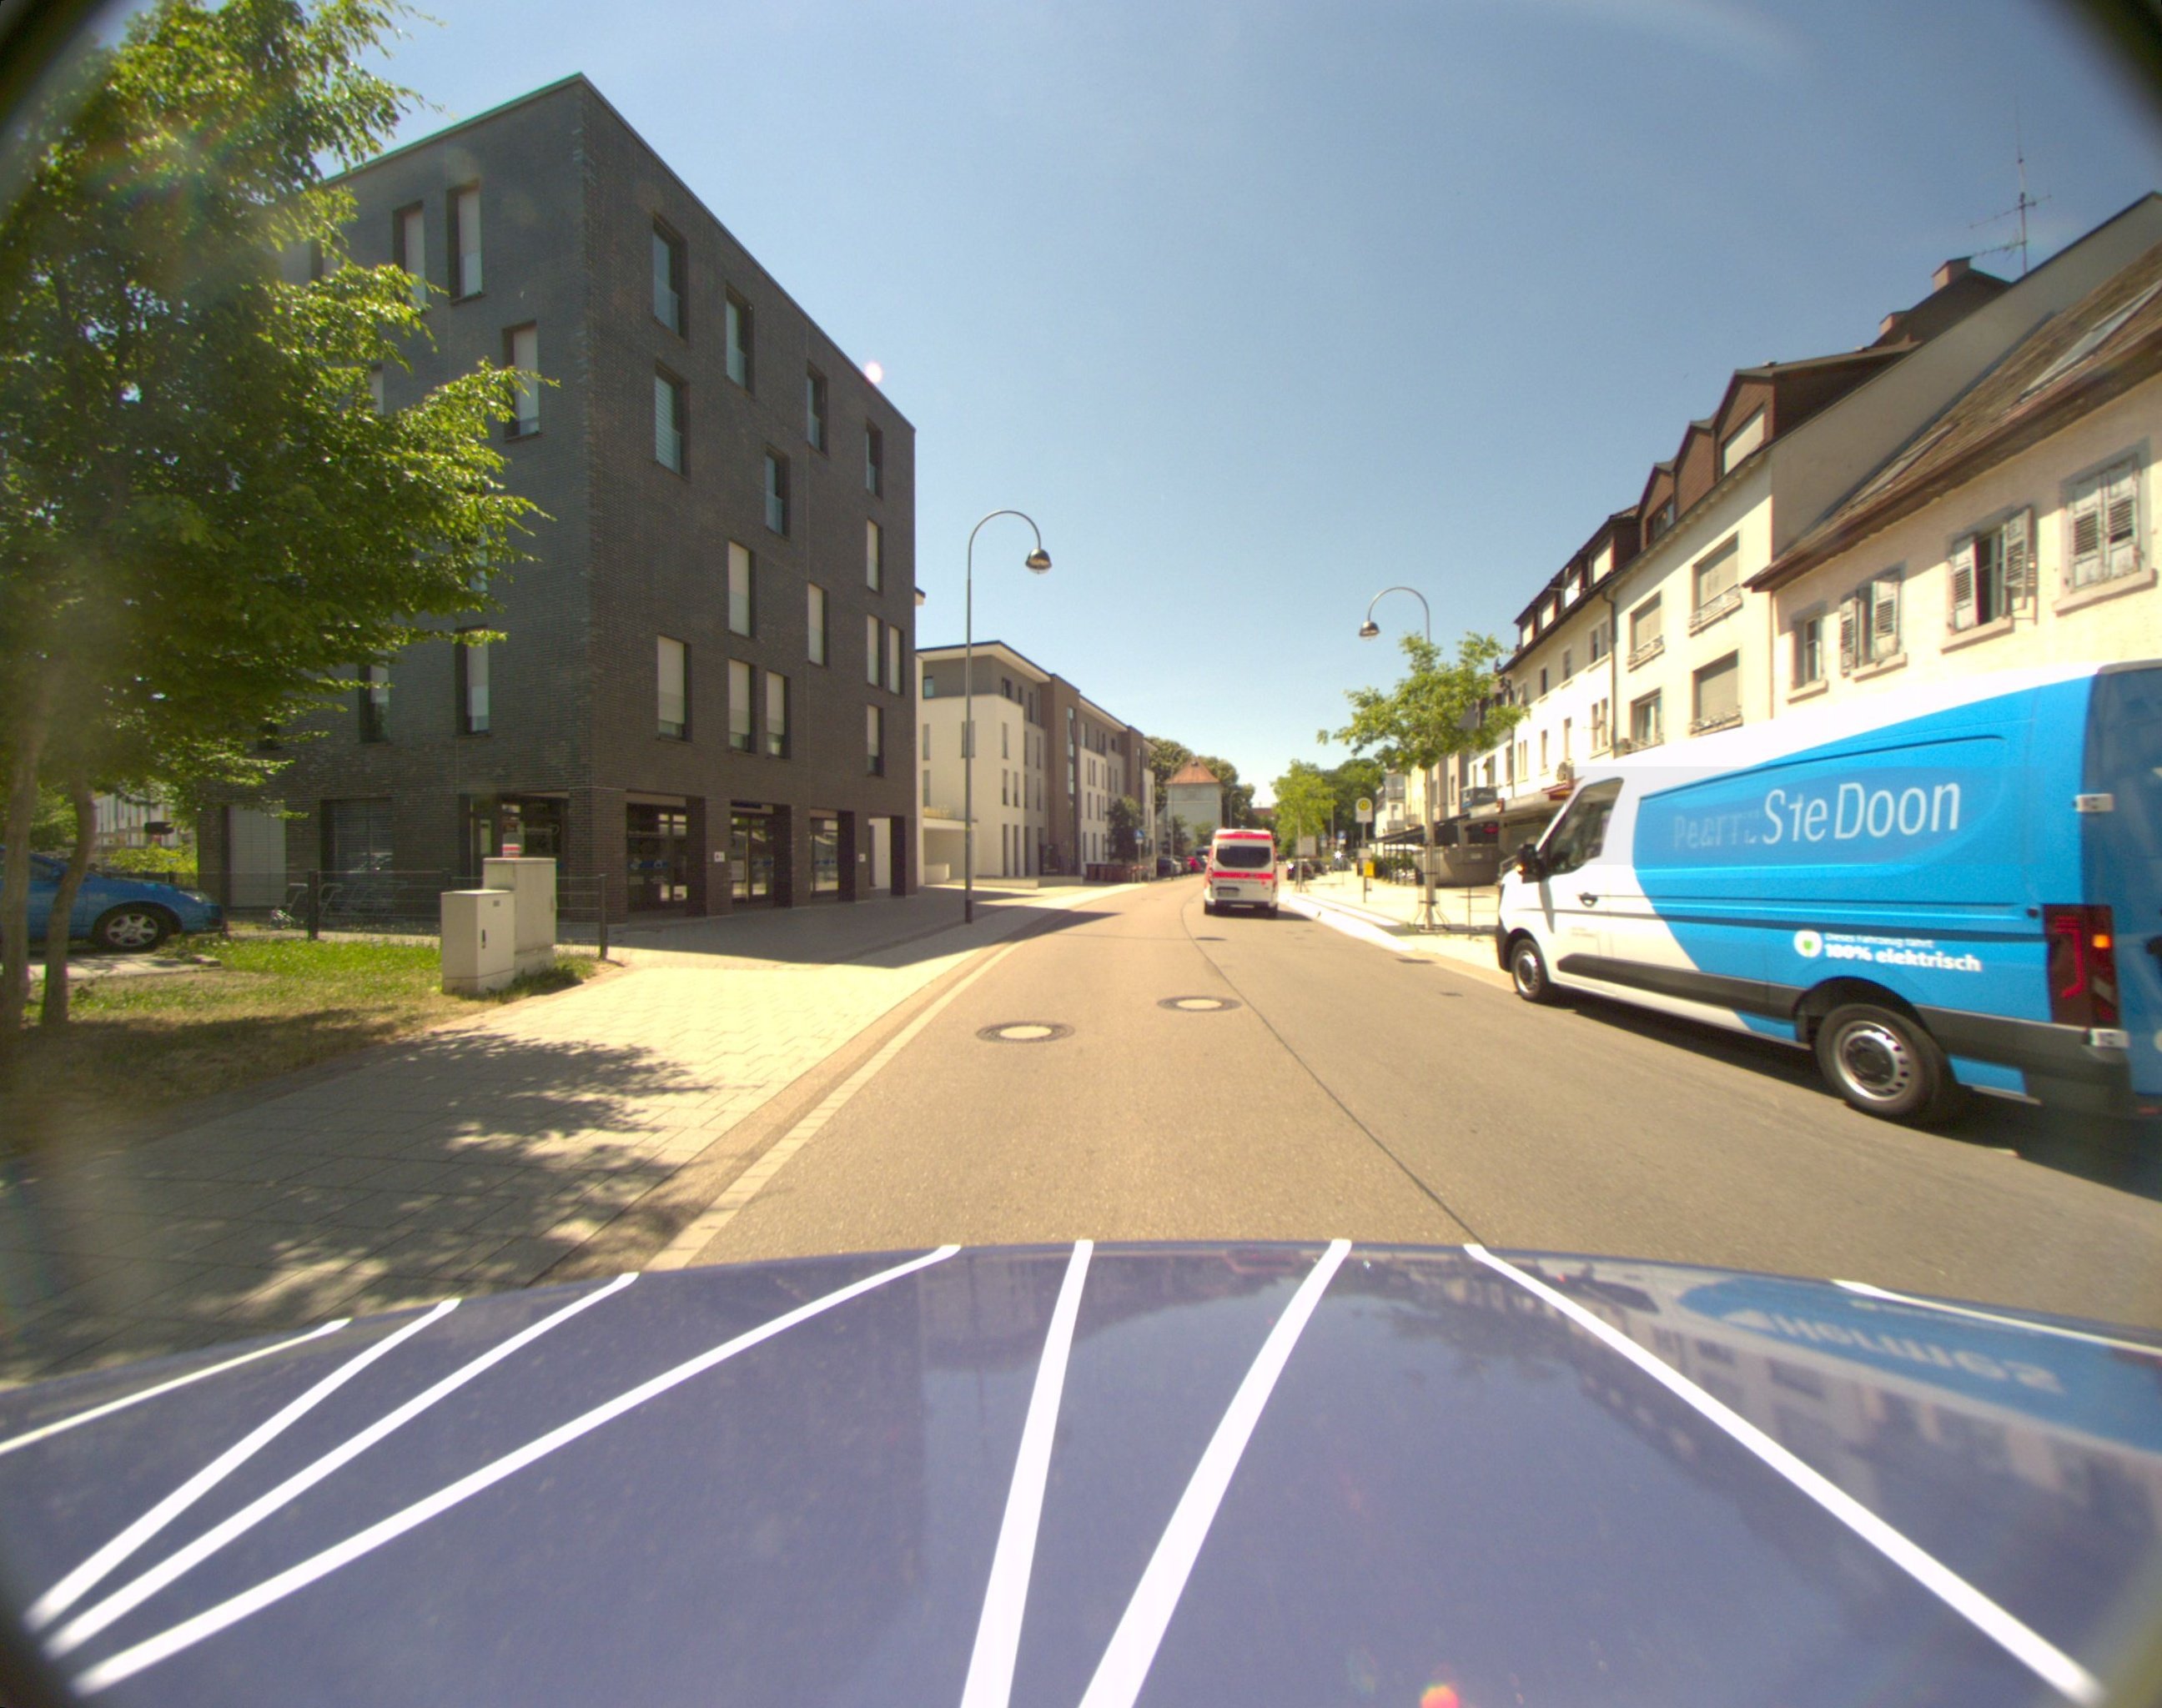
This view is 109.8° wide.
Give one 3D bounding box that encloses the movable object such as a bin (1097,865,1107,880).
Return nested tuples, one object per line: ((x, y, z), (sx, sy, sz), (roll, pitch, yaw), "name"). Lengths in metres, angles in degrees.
((1.344, 1.137, 47.543), (0.474, 0.925, 0.529), (2, 1, 18), "movable object such as a bin")

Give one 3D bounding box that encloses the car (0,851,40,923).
((-23.379, 0.646, 14.359), (1.812, 1.432, 4.182), (1, 0, 30), "car")

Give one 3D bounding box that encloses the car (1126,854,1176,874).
((5.540, 0.767, 59.905), (3.660, 1.437, 1.537), (2, 1, 19), "car")

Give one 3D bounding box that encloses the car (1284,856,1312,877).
((17.509, 0.971, 61.136), (1.683, 1.475, 3.774), (-4, -1, 23), "car")

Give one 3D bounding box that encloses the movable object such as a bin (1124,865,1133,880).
((2.989, 1.147, 47.658), (0.467, 0.925, 0.529), (2, 1, 18), "movable object such as a bin")

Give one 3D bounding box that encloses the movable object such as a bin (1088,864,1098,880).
((0.737, 1.132, 47.766), (0.474, 0.925, 0.529), (2, 1, 18), "movable object such as a bin")

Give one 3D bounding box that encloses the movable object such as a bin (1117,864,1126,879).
((2.607, 1.118, 49.372), (0.517, 0.918, 0.437), (1, 1, -5), "movable object such as a bin")

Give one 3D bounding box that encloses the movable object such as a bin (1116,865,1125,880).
((2.495, 1.137, 47.817), (0.465, 0.925, 0.523), (2, 1, 18), "movable object such as a bin")

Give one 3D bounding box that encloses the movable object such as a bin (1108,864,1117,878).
((2.051, 1.113, 49.572), (0.483, 0.918, 0.437), (1, 1, -5), "movable object such as a bin")

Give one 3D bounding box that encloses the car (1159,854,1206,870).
((9.923, 0.740, 73.895), (4.353, 1.542, 1.654), (0, 1, 14), "car")

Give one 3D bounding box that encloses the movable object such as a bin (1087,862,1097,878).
((0.719, 1.027, 49.389), (0.570, 1.036, 0.560), (2, 1, 4), "movable object such as a bin")

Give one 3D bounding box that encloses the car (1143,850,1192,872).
((7.386, 0.592, 64.783), (3.813, 1.776, 1.843), (0, 1, 15), "car")

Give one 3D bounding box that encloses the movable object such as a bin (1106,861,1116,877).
((2.019, 1.022, 50.852), (0.647, 1.054, 0.625), (2, 1, 5), "movable object such as a bin")

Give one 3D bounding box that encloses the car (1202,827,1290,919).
((4.691, 0.488, 22.351), (2.160, 2.348, 5.251), (1, 0, 9), "car")

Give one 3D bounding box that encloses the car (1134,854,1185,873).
((6.419, 0.783, 62.022), (3.813, 1.474, 1.780), (0, 1, 15), "car")

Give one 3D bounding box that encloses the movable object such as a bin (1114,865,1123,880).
((2.335, 1.145, 47.235), (0.474, 0.925, 0.529), (2, 1, 18), "movable object such as a bin")

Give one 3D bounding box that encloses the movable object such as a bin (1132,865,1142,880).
((3.484, 1.167, 47.498), (0.474, 0.925, 0.529), (2, 1, 18), "movable object such as a bin")

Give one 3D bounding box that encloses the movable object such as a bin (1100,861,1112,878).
((1.657, 1.026, 50.234), (0.646, 1.054, 0.626), (2, 1, 19), "movable object such as a bin")

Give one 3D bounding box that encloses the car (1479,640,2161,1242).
((5.492, 0.328, 5.847), (2.097, 2.483, 5.504), (-2, 0, 2), "car")

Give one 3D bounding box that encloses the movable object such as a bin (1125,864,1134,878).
((3.229, 1.113, 50.585), (0.513, 0.926, 0.466), (2, 1, 12), "movable object such as a bin")

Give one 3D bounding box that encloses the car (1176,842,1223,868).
((13.023, 0.095, 83.678), (4.860, 2.720, 1.853), (0, 1, 18), "car")

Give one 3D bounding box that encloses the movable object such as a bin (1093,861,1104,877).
((1.203, 1.006, 51.142), (0.647, 1.054, 0.625), (2, 1, 5), "movable object such as a bin")

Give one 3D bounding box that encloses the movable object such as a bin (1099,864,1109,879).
((1.446, 1.104, 48.145), (0.465, 0.925, 0.523), (2, 1, 18), "movable object such as a bin")

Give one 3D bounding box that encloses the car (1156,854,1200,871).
((8.869, 0.796, 69.521), (3.812, 1.454, 1.654), (1, 1, 16), "car")

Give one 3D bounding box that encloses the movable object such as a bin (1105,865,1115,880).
((1.832, 1.141, 47.389), (0.474, 0.925, 0.529), (2, 1, 18), "movable object such as a bin")

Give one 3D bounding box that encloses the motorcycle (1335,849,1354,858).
((35.490, -0.069, 102.313), (2.319, 1.317, 0.726), (0, 1, 20), "motorcycle")

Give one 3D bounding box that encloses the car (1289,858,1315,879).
((16.374, 1.048, 56.269), (1.756, 1.437, 4.455), (1, 0, 16), "car")

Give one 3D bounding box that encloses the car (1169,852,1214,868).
((11.495, 0.618, 78.920), (4.375, 1.520, 1.721), (0, 0, 17), "car")

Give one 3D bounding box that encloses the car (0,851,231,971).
((-13.734, 0.677, 9.269), (1.812, 1.432, 4.182), (0, -2, 30), "car")

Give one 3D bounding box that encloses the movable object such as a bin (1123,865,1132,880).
((2.882, 1.160, 47.086), (0.474, 0.925, 0.529), (2, 1, 18), "movable object such as a bin")

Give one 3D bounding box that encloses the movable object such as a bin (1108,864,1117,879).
((2.001, 1.125, 47.976), (0.465, 0.925, 0.523), (2, 1, 18), "movable object such as a bin")

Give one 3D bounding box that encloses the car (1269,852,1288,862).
((28.993, 0.417, 111.661), (1.620, 1.445, 3.863), (1, 1, -1), "car")
